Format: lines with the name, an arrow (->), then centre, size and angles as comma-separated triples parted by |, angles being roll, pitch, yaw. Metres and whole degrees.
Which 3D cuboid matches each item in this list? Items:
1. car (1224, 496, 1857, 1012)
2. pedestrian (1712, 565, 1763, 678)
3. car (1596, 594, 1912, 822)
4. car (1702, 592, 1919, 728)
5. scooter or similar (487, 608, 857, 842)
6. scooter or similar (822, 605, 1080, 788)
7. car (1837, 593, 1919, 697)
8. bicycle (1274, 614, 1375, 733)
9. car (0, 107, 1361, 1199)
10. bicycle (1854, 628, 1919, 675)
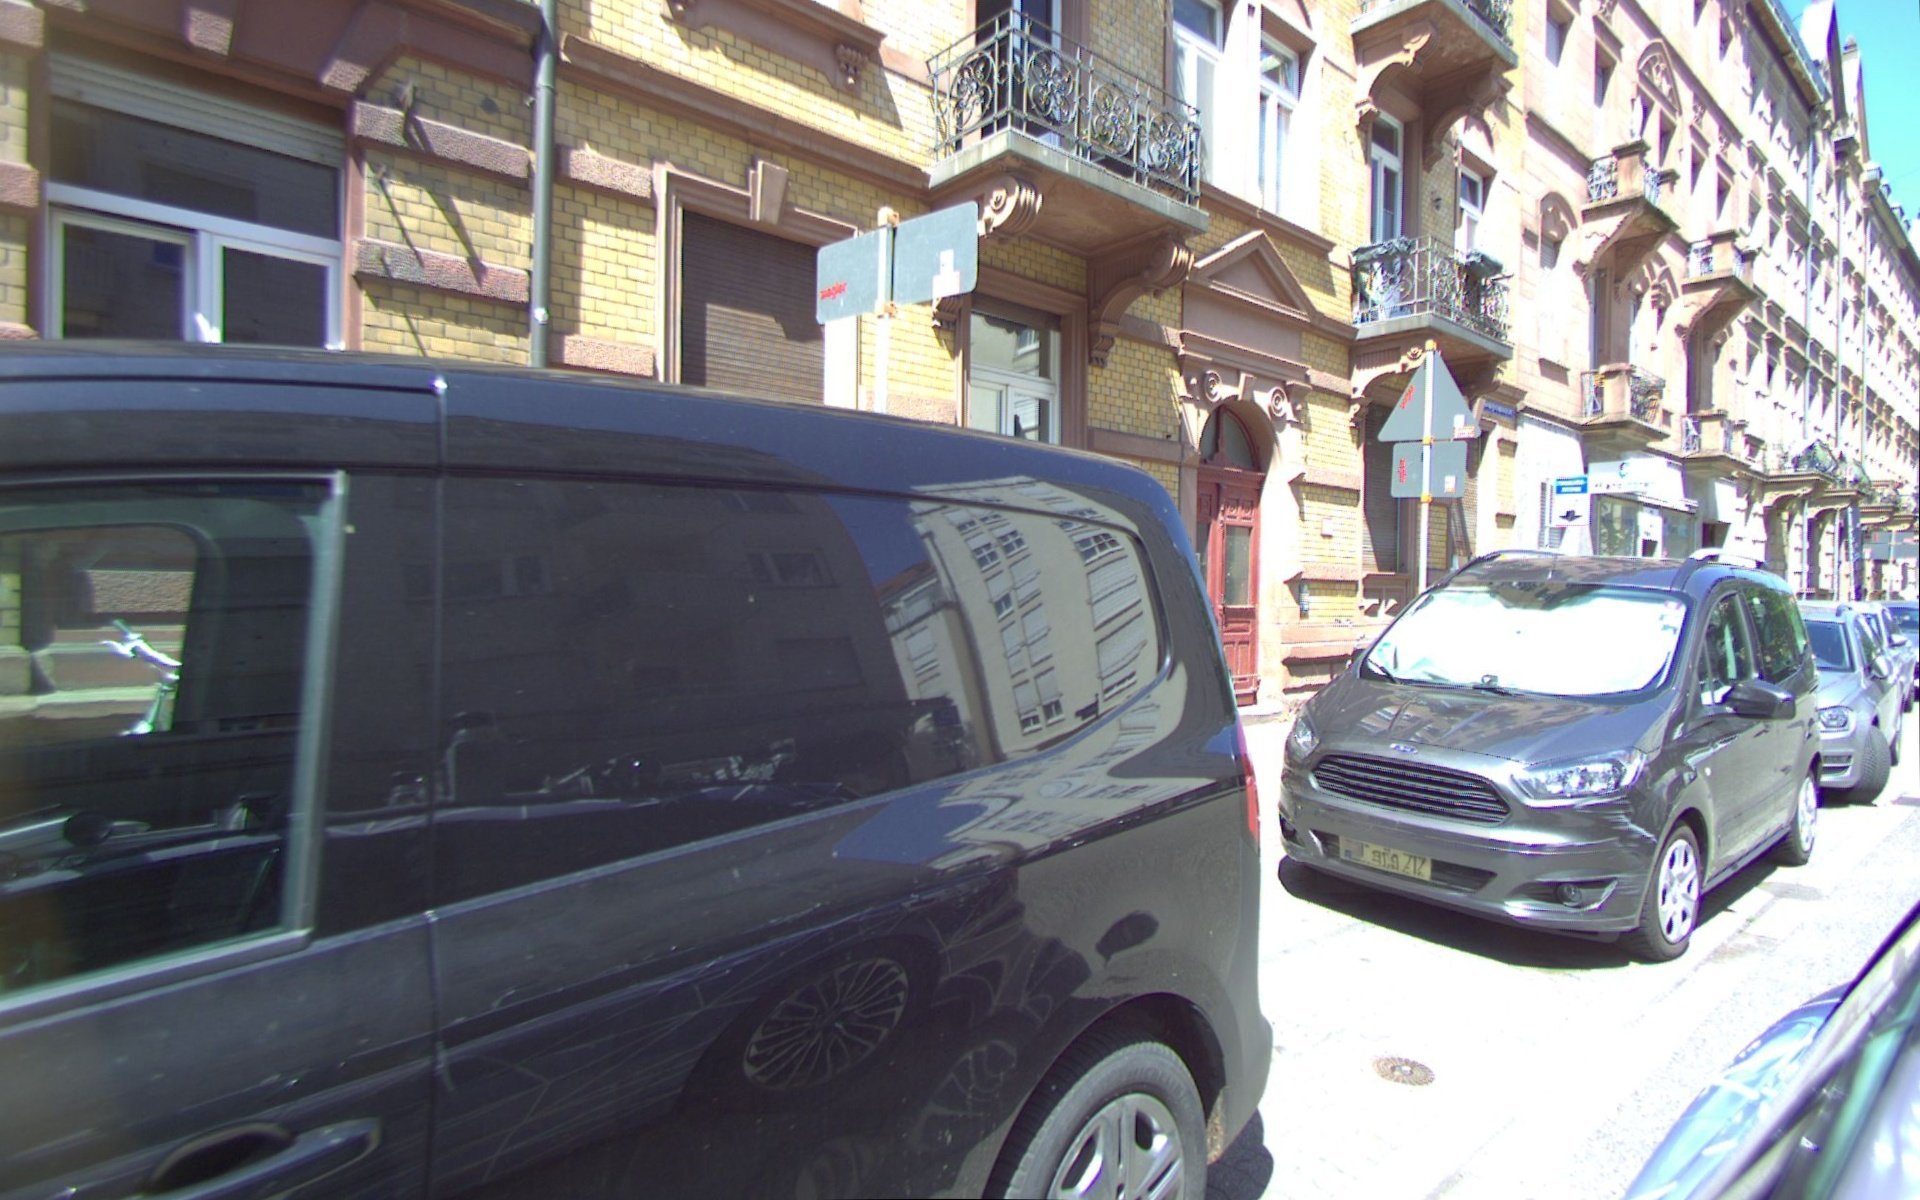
car -> 3.279, 0.491, 5.379 | 3.930, 1.755, 1.705 | 0, 1, -41
pedestrian -> 13.599, 0.365, 17.707 | 0.363, 1.938, 0.634 | 1, 0, -40
car -> 6.836, 0.688, 8.560 | 1.760, 1.468, 3.844 | 0, 0, 43
car -> 11.126, 0.641, 13.050 | 3.933, 1.479, 1.827 | 0, 0, -43
scooter or similar -> -1.615, 0.641, 6.013 | 2.112, 1.167, 0.477 | 0, 0, -41
scooter or similar -> -0.002, 0.628, 7.423 | 2.075, 1.167, 0.477 | 0, 0, -41
car -> 14.918, 0.629, 15.746 | 3.628, 1.481, 1.600 | 0, 0, -44
bicycle -> 3.840, 0.734, 10.621 | 1.404, 1.121, 0.366 | -1, 1, -41
car -> -1.302, 0.490, 1.498 | 4.264, 1.788, 1.827 | 0, 2, -43
bicycle -> 17.408, 0.940, 18.168 | 0.557, 0.786, 1.968 | 0, 1, -36
